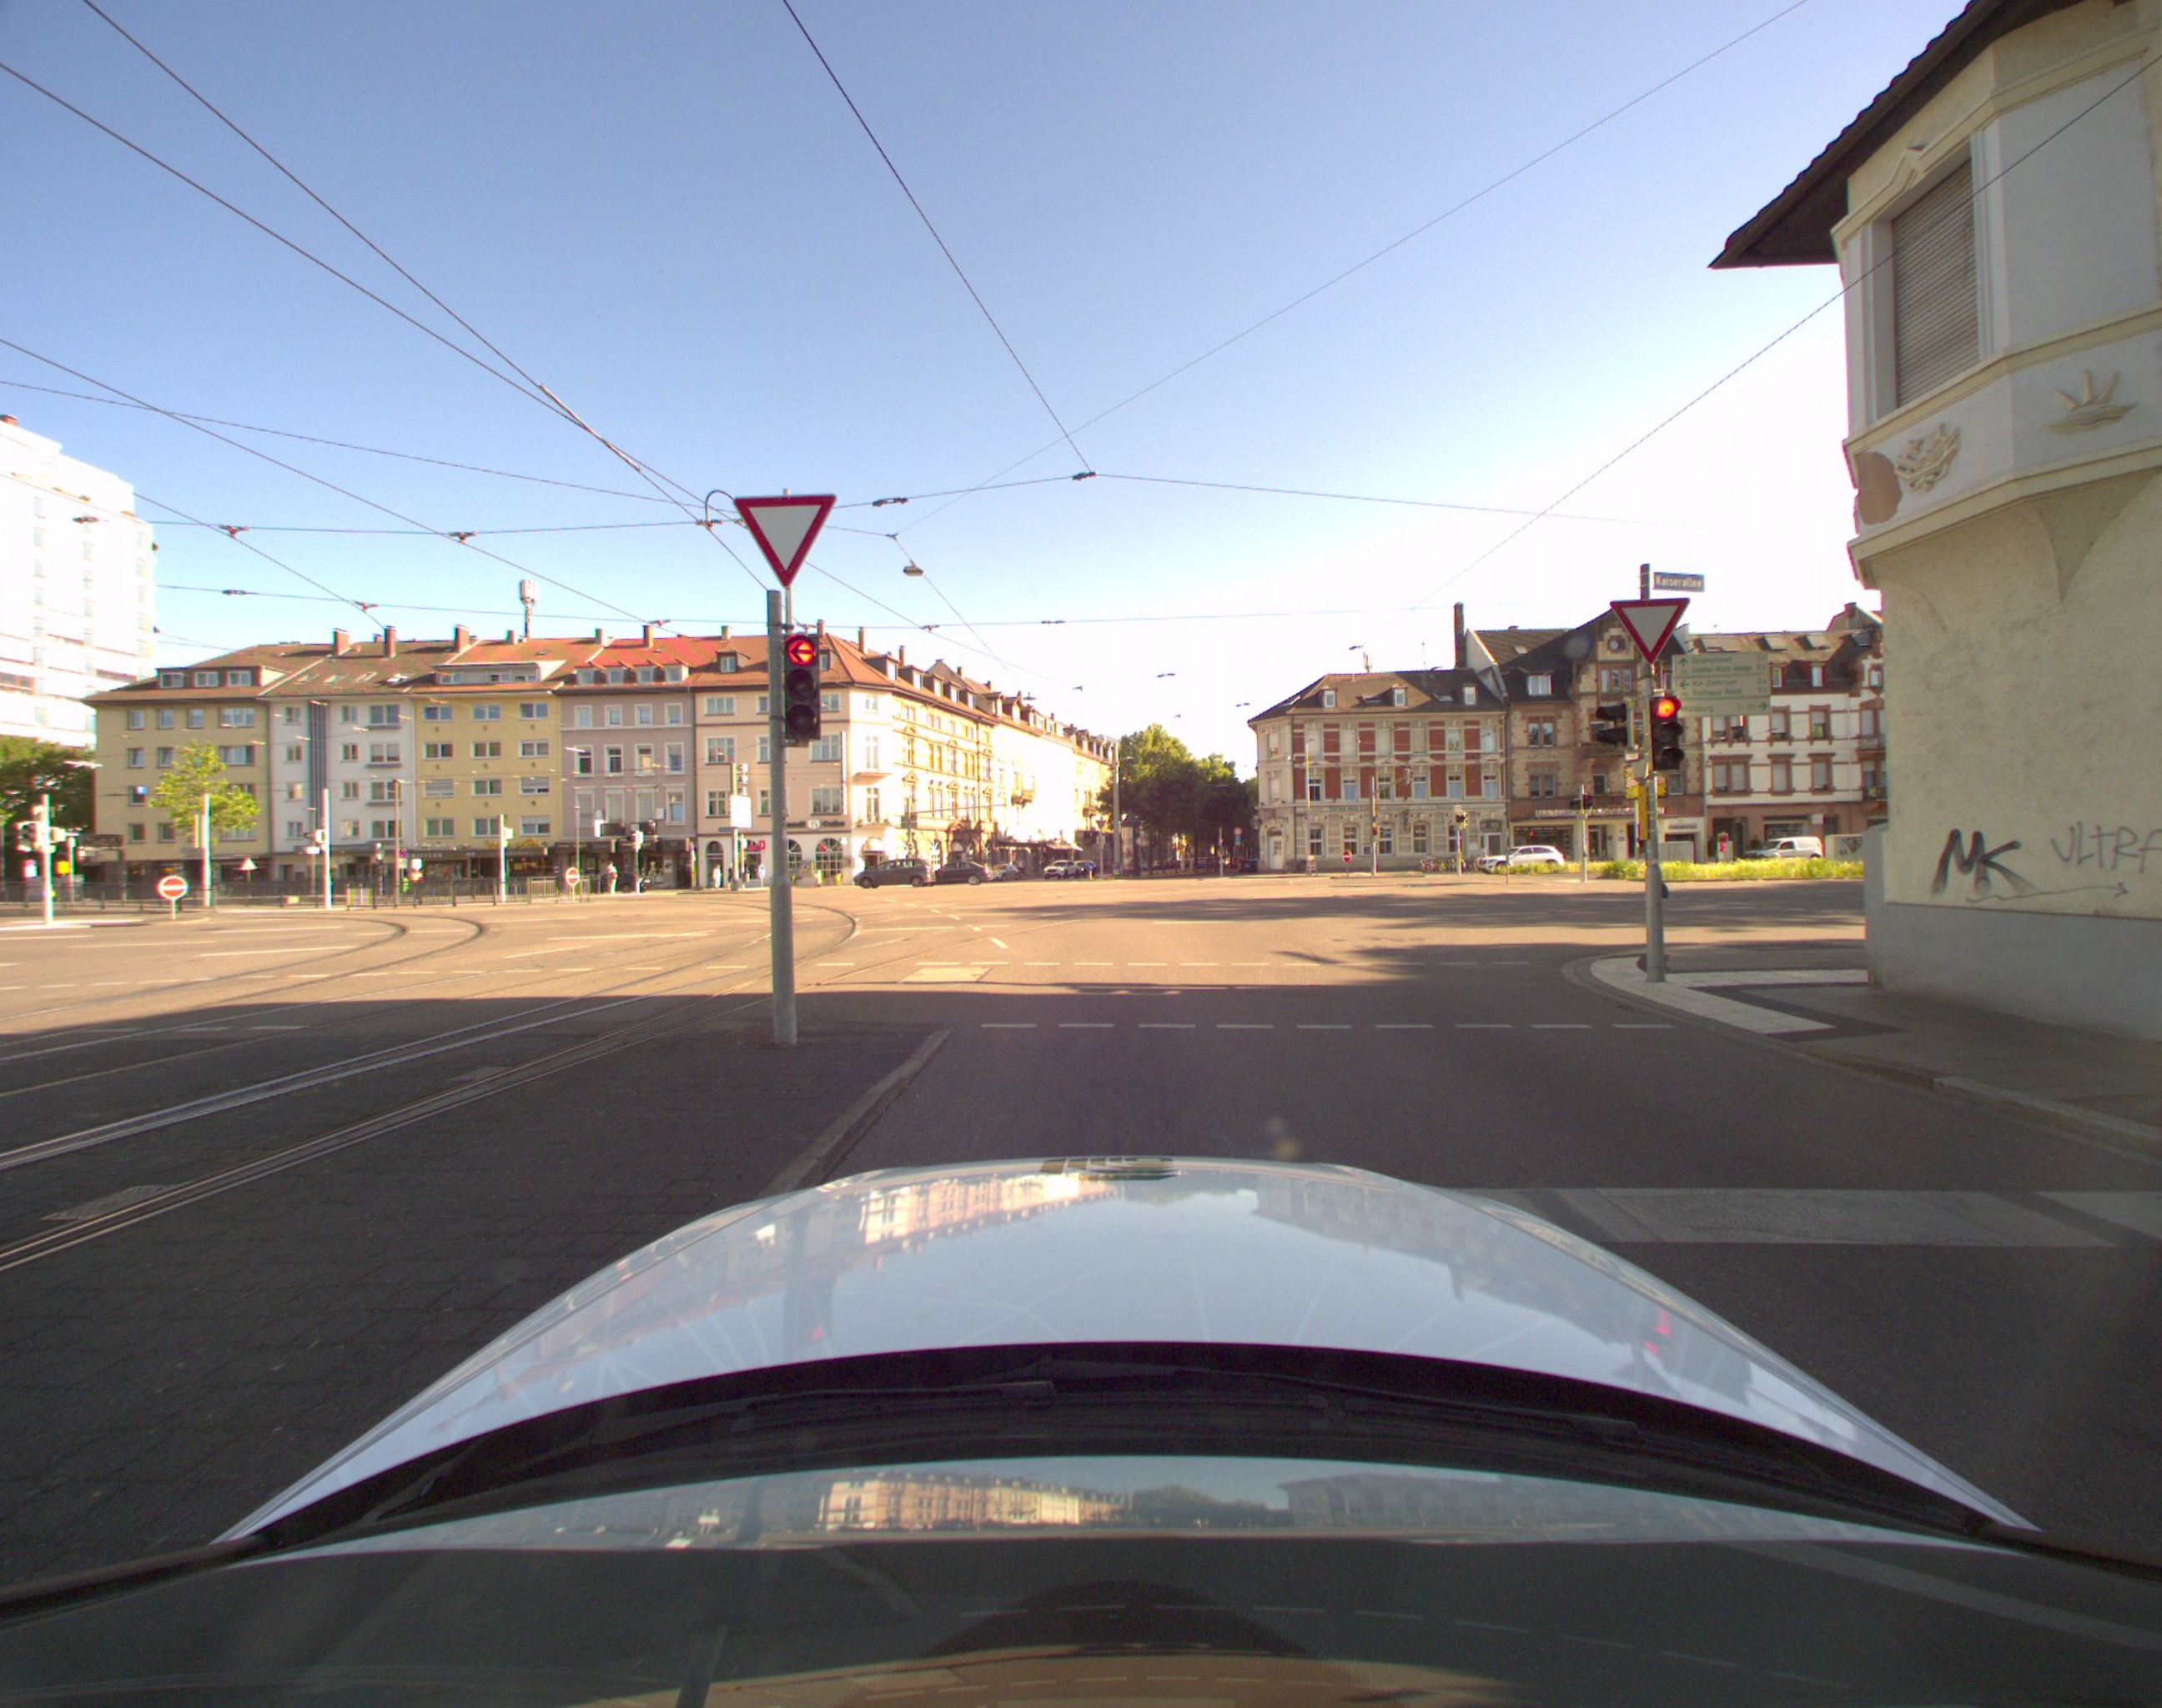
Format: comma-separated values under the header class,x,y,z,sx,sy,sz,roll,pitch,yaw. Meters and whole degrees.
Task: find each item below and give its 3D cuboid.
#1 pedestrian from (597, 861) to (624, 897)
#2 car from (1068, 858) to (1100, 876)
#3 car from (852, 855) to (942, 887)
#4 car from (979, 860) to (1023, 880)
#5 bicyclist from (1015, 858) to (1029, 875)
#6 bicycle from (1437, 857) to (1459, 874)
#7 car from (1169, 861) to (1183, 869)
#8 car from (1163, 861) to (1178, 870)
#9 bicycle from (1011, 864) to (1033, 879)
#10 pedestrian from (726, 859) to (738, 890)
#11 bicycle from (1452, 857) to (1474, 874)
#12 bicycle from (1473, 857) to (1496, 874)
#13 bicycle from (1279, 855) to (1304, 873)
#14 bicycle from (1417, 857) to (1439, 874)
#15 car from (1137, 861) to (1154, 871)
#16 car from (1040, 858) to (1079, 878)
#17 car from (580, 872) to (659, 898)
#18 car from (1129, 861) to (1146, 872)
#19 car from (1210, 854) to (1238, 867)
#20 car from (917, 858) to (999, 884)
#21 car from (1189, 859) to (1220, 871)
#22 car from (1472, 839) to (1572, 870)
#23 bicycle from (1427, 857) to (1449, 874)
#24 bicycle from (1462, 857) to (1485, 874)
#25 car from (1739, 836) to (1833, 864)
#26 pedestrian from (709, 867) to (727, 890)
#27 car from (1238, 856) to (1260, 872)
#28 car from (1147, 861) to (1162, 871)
class,x,y,z,sx,sy,sz,roll,pitch,yaw
pedestrian,-24.566,1.310,42.555,0.871,1.818,0.811,-1,0,2
car,0.296,1.152,73.690,1.979,1.513,4.015,-1,0,14
car,-10.207,0.919,45.380,4.494,1.672,2.000,-1,0,1
car,-6.593,1.304,67.697,2.080,1.545,4.382,-1,0,16
bicyclist,-4.762,0.987,65.869,0.787,1.375,1.113,-1,0,16
bicycle,23.817,0.732,52.867,0.603,1.051,1.641,-1,0,-3
car,15.872,1.838,136.201,1.728,1.397,4.141,1,0,16
car,14.448,1.814,131.454,1.728,1.397,4.141,1,0,16
bicycle,-4.764,1.431,65.897,0.745,1.135,2.821,-1,0,16
pedestrian,-22.774,1.357,53.121,0.506,2.013,0.505,-1,0,5
bicycle,24.643,0.724,52.566,0.603,1.051,1.641,-1,0,-3
bicycle,26.057,0.714,52.608,0.603,1.051,1.641,-1,0,-3
bicycle,14.700,0.692,56.936,1.625,1.222,0.609,-1,0,18
bicycle,22.500,0.741,52.836,0.603,1.051,1.641,-1,0,-3
car,9.183,1.688,115.770,1.729,1.397,4.137,1,0,12
car,-1.726,1.164,67.367,2.080,1.499,4.017,-1,0,16
car,-30.270,1.991,53.531,3.978,1.464,1.998,-2,0,-4
car,7.609,1.653,110.000,1.729,1.397,4.137,1,0,12
car,23.380,1.090,133.069,4.074,1.919,1.756,1,0,23
car,-7.180,0.985,47.886,4.496,1.341,2.000,-1,0,0
car,17.493,1.529,114.990,4.078,1.646,1.754,1,0,17
car,25.836,0.027,47.830,4.832,1.660,2.000,-1,0,0
bicycle,23.153,0.737,52.867,0.603,1.051,1.641,-1,0,-3
bicycle,25.319,0.719,52.616,0.603,1.051,1.641,-1,0,-3
car,45.389,-0.228,52.468,4.356,1.654,1.999,-1,0,-2
pedestrian,-24.943,1.682,55.945,0.787,1.527,0.860,-1,0,2
car,16.910,0.994,82.049,1.637,1.524,3.772,-2,-1,20
car,11.070,1.731,122.706,1.729,1.397,4.137,1,0,12
